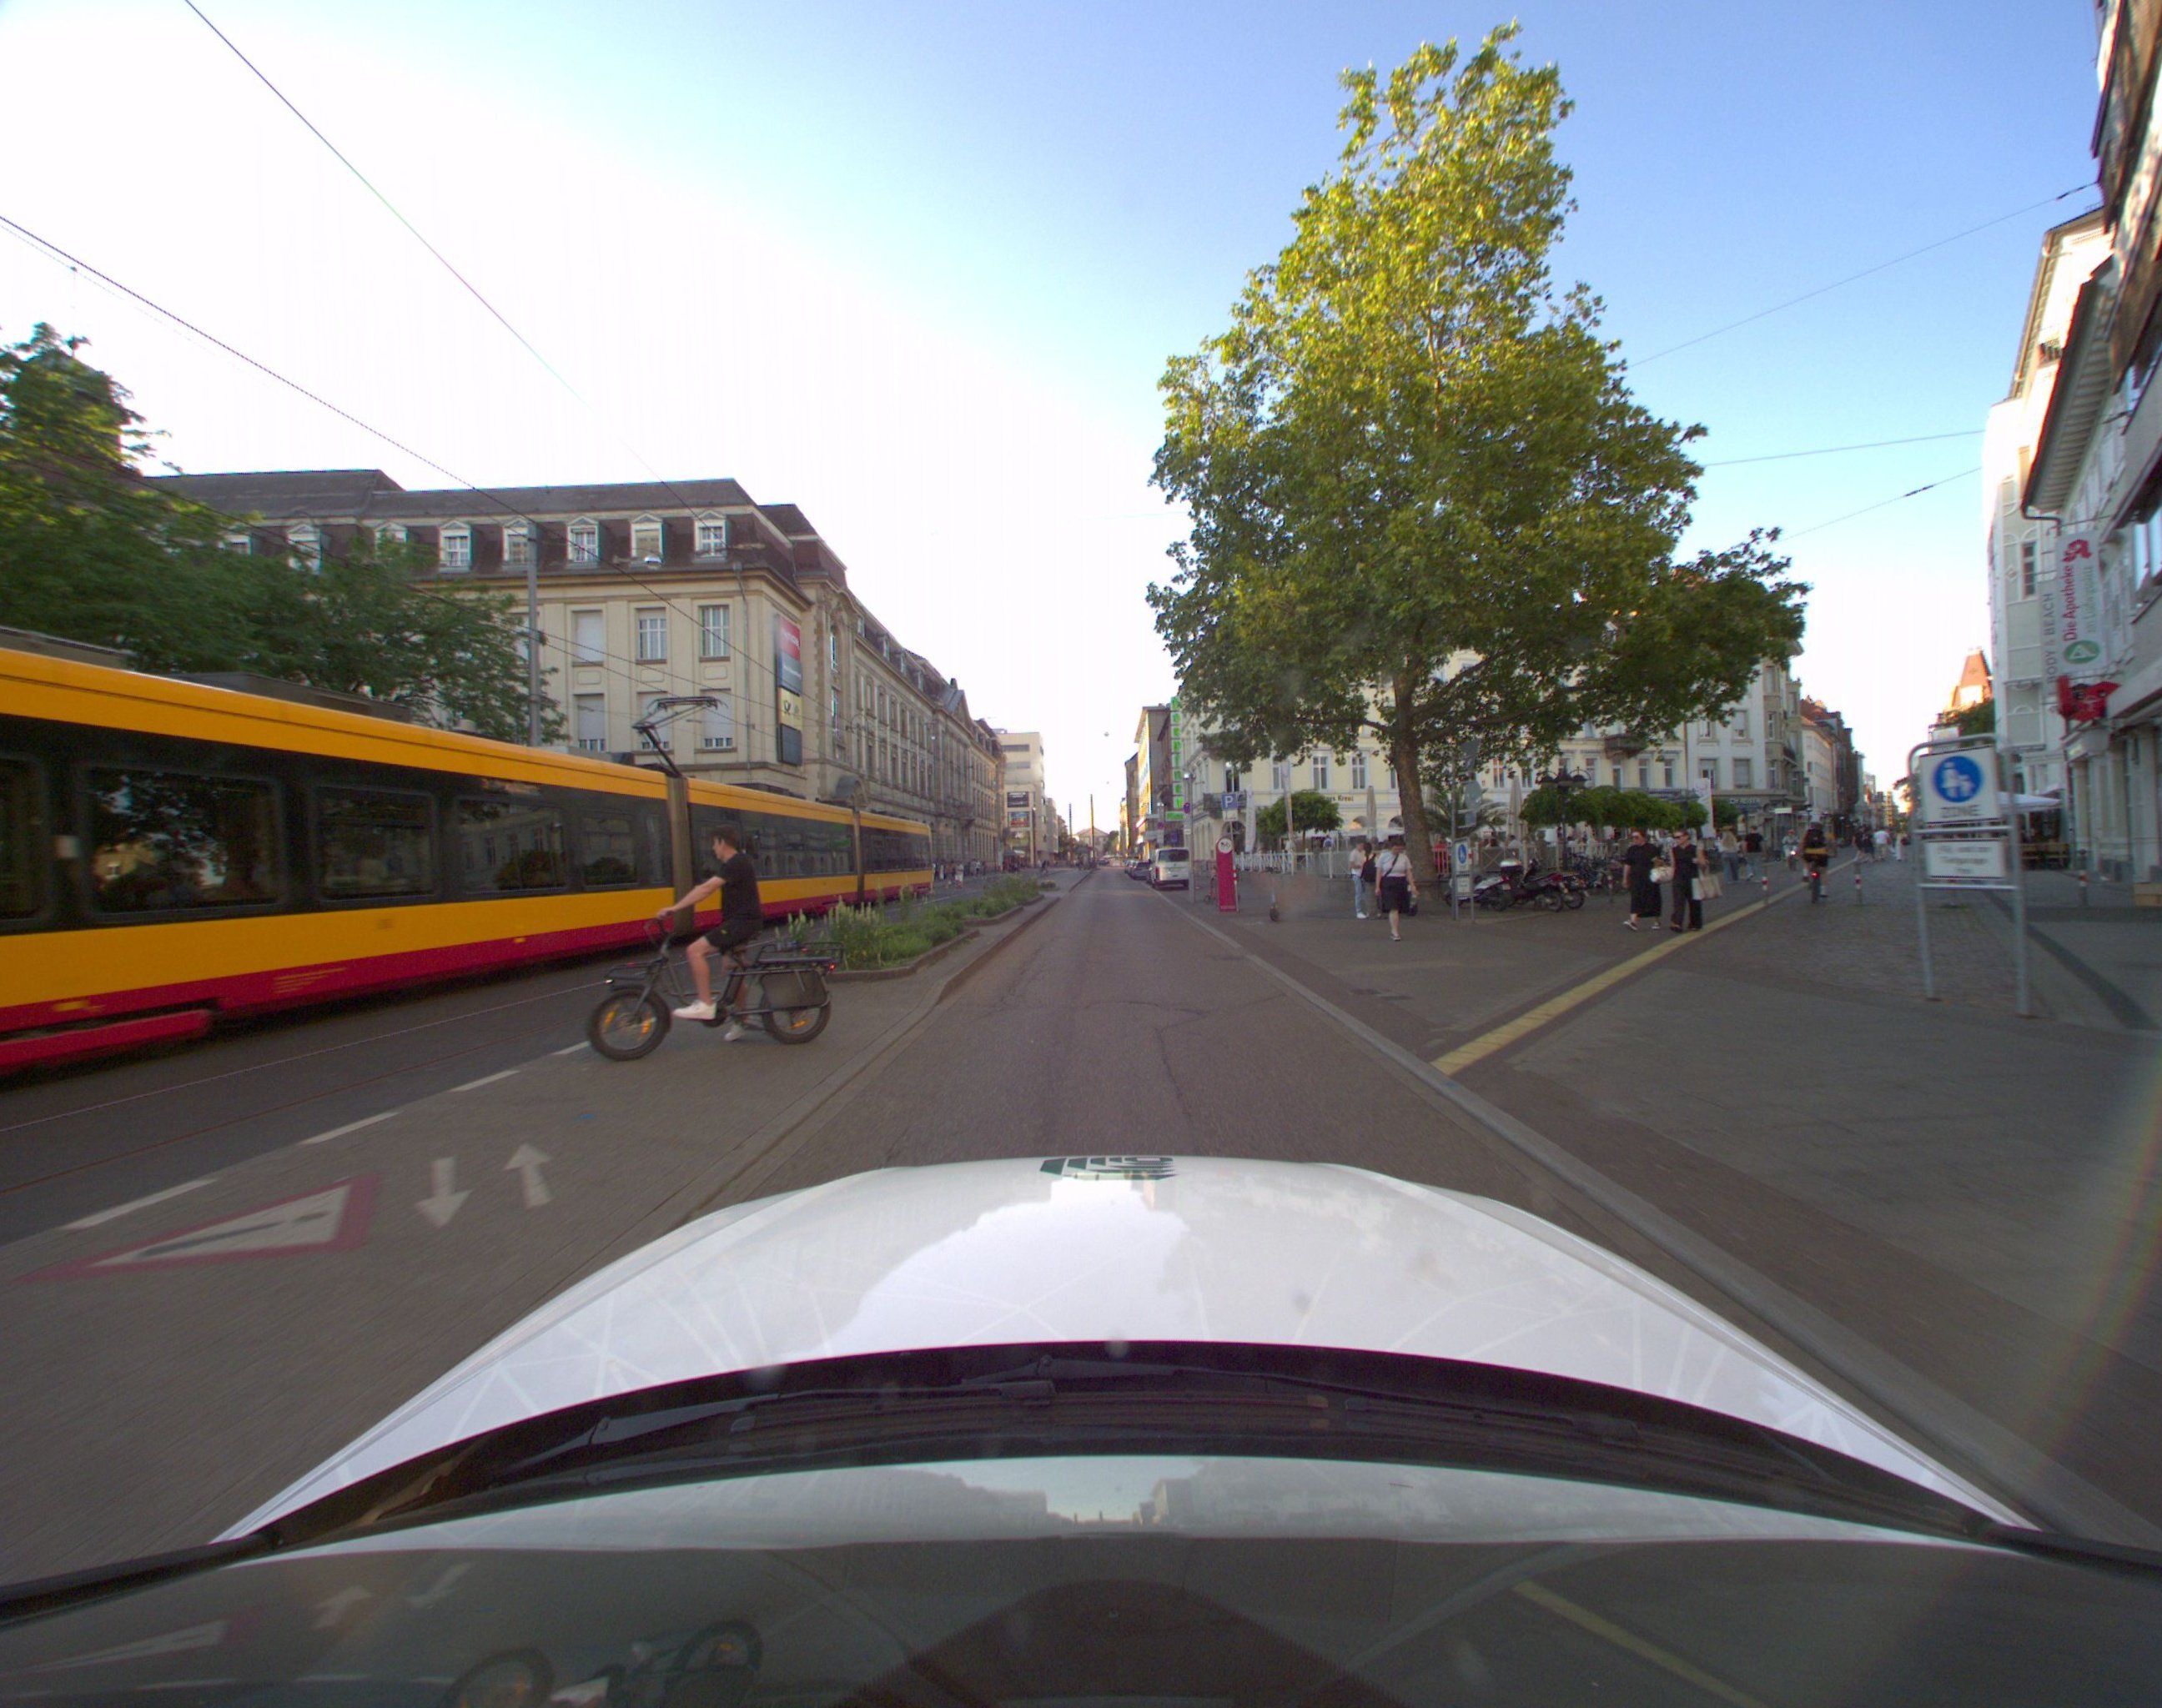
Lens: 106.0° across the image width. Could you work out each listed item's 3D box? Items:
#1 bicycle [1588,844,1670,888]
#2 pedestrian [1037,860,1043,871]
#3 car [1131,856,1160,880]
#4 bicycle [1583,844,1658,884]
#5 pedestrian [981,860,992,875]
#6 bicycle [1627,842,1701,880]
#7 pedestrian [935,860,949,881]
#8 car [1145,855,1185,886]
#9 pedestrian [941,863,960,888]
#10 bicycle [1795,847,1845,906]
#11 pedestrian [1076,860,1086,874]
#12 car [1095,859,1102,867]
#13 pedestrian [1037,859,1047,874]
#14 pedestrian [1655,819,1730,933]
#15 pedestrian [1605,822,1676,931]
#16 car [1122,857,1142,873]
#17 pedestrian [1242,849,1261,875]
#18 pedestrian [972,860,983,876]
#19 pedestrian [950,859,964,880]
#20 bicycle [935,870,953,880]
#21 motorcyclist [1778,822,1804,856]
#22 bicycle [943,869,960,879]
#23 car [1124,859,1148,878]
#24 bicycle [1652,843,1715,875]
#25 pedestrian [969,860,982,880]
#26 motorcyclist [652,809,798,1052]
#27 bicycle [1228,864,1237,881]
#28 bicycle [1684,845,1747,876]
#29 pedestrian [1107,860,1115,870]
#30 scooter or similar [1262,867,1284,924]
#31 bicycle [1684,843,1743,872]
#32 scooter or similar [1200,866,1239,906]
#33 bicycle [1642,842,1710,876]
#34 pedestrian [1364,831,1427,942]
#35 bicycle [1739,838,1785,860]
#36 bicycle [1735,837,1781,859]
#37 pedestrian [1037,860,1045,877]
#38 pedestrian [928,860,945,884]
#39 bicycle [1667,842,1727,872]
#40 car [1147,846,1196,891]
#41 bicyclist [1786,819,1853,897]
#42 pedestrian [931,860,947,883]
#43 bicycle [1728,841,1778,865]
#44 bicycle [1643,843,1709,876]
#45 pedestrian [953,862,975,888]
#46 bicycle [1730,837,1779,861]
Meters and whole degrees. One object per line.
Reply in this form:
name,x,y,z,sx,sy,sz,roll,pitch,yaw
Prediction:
bicycle,16.994,0.362,25.309,0.444,1.291,2.095,-2,1,-34
pedestrian,-7.510,2.038,147.992,0.907,1.928,0.846,-1,-1,-15
car,5.034,1.108,64.240,1.986,1.761,4.422,-2,-1,2
bicycle,18.360,0.321,27.787,0.444,1.291,2.095,-3,2,-34
pedestrian,-10.571,1.524,90.875,1.051,1.686,0.903,-2,-1,-18
bicycle,20.625,0.249,28.879,0.444,1.291,2.095,-2,1,-34
pedestrian,-11.531,1.379,67.569,1.048,1.686,0.905,-2,-2,-8
car,4.974,0.993,48.807,1.986,1.667,4.422,-2,-1,2
pedestrian,-7.964,1.309,49.667,0.750,1.514,0.868,-5,-3,45
bicycle,16.298,0.477,17.936,2.209,1.212,0.643,0,-2,-44
pedestrian,-0.031,1.688,103.142,1.041,1.686,0.911,-3,-2,13
car,4.692,2.475,219.076,1.754,1.827,3.571,-2,-2,2
pedestrian,-4.483,1.482,93.859,1.045,1.686,0.908,-1,-1,1
pedestrian,9.645,0.341,12.854,0.827,1.724,0.651,0,-3,-37
pedestrian,9.219,0.368,13.421,0.827,1.741,0.651,0,-3,-37
car,5.615,1.261,90.266,1.986,1.667,4.422,-2,-2,2
pedestrian,9.102,0.426,43.537,0.820,1.306,0.870,-2,-2,1
pedestrian,-11.326,1.484,88.896,1.051,1.686,0.903,-1,-1,-18
pedestrian,-10.300,1.286,67.830,1.048,1.686,0.905,-2,-2,-8
bicycle,-12.994,1.978,77.291,1.583,0.949,0.358,-2,-2,-11
motorcyclist,31.265,-0.662,35.867,0.592,1.441,0.606,-3,-2,17
bicycle,-12.808,1.970,80.486,1.583,0.949,0.358,-2,-2,-11
car,5.187,1.376,77.105,1.986,1.667,4.422,-2,-2,2
bicycle,25.281,0.210,34.199,2.089,1.291,0.445,-1,0,36
pedestrian,-8.941,1.368,69.130,1.048,1.686,0.905,-2,-2,-8
motorcyclist,-2.935,0.583,6.735,1.007,1.813,0.951,-1,-3,-25
bicycle,8.395,1.028,45.019,0.249,0.902,1.374,-2,-2,2
bicycle,27.152,0.286,34.906,2.089,1.291,0.445,-2,-1,36
pedestrian,5.747,2.047,154.190,1.231,1.928,1.017,-1,-1,-14
scooter or similar,4.371,0.928,18.590,0.313,1.221,1.275,-4,-1,9
bicycle,28.999,0.162,37.352,2.089,1.291,0.445,-2,-1,36
scooter or similar,4.428,1.013,26.090,1.120,1.216,0.300,-3,-1,2
bicycle,23.155,0.211,31.711,2.089,1.291,0.445,-1,-1,36
pedestrian,5.351,0.537,13.889,0.711,1.803,0.825,-3,-1,4
bicycle,41.310,-0.302,49.436,2.089,1.291,0.445,-2,-1,36
bicycle,41.159,-0.345,49.505,2.089,1.291,0.445,-2,-1,36
pedestrian,-3.924,1.447,80.248,0.688,1.636,0.579,-1,-1,-6
pedestrian,-10.126,1.284,57.031,0.873,1.653,0.879,-3,-3,15
bicycle,27.562,0.139,36.466,2.089,1.291,0.445,-1,2,36
car,4.323,0.705,39.474,1.908,1.981,4.422,-2,-1,2
bicyclist,16.336,0.105,18.013,1.005,1.653,0.980,2,-3,-44
pedestrian,-10.935,1.361,62.725,0.864,1.720,0.887,-3,-3,25
bicycle,37.518,-0.064,45.491,2.089,1.291,0.445,-2,-1,36
bicycle,23.843,0.215,32.665,2.089,1.291,0.445,-1,0,36
pedestrian,-7.058,1.265,49.268,0.710,1.514,1.043,-5,-3,45
bicycle,38.352,-0.257,46.400,2.089,1.291,0.445,-2,-1,36
